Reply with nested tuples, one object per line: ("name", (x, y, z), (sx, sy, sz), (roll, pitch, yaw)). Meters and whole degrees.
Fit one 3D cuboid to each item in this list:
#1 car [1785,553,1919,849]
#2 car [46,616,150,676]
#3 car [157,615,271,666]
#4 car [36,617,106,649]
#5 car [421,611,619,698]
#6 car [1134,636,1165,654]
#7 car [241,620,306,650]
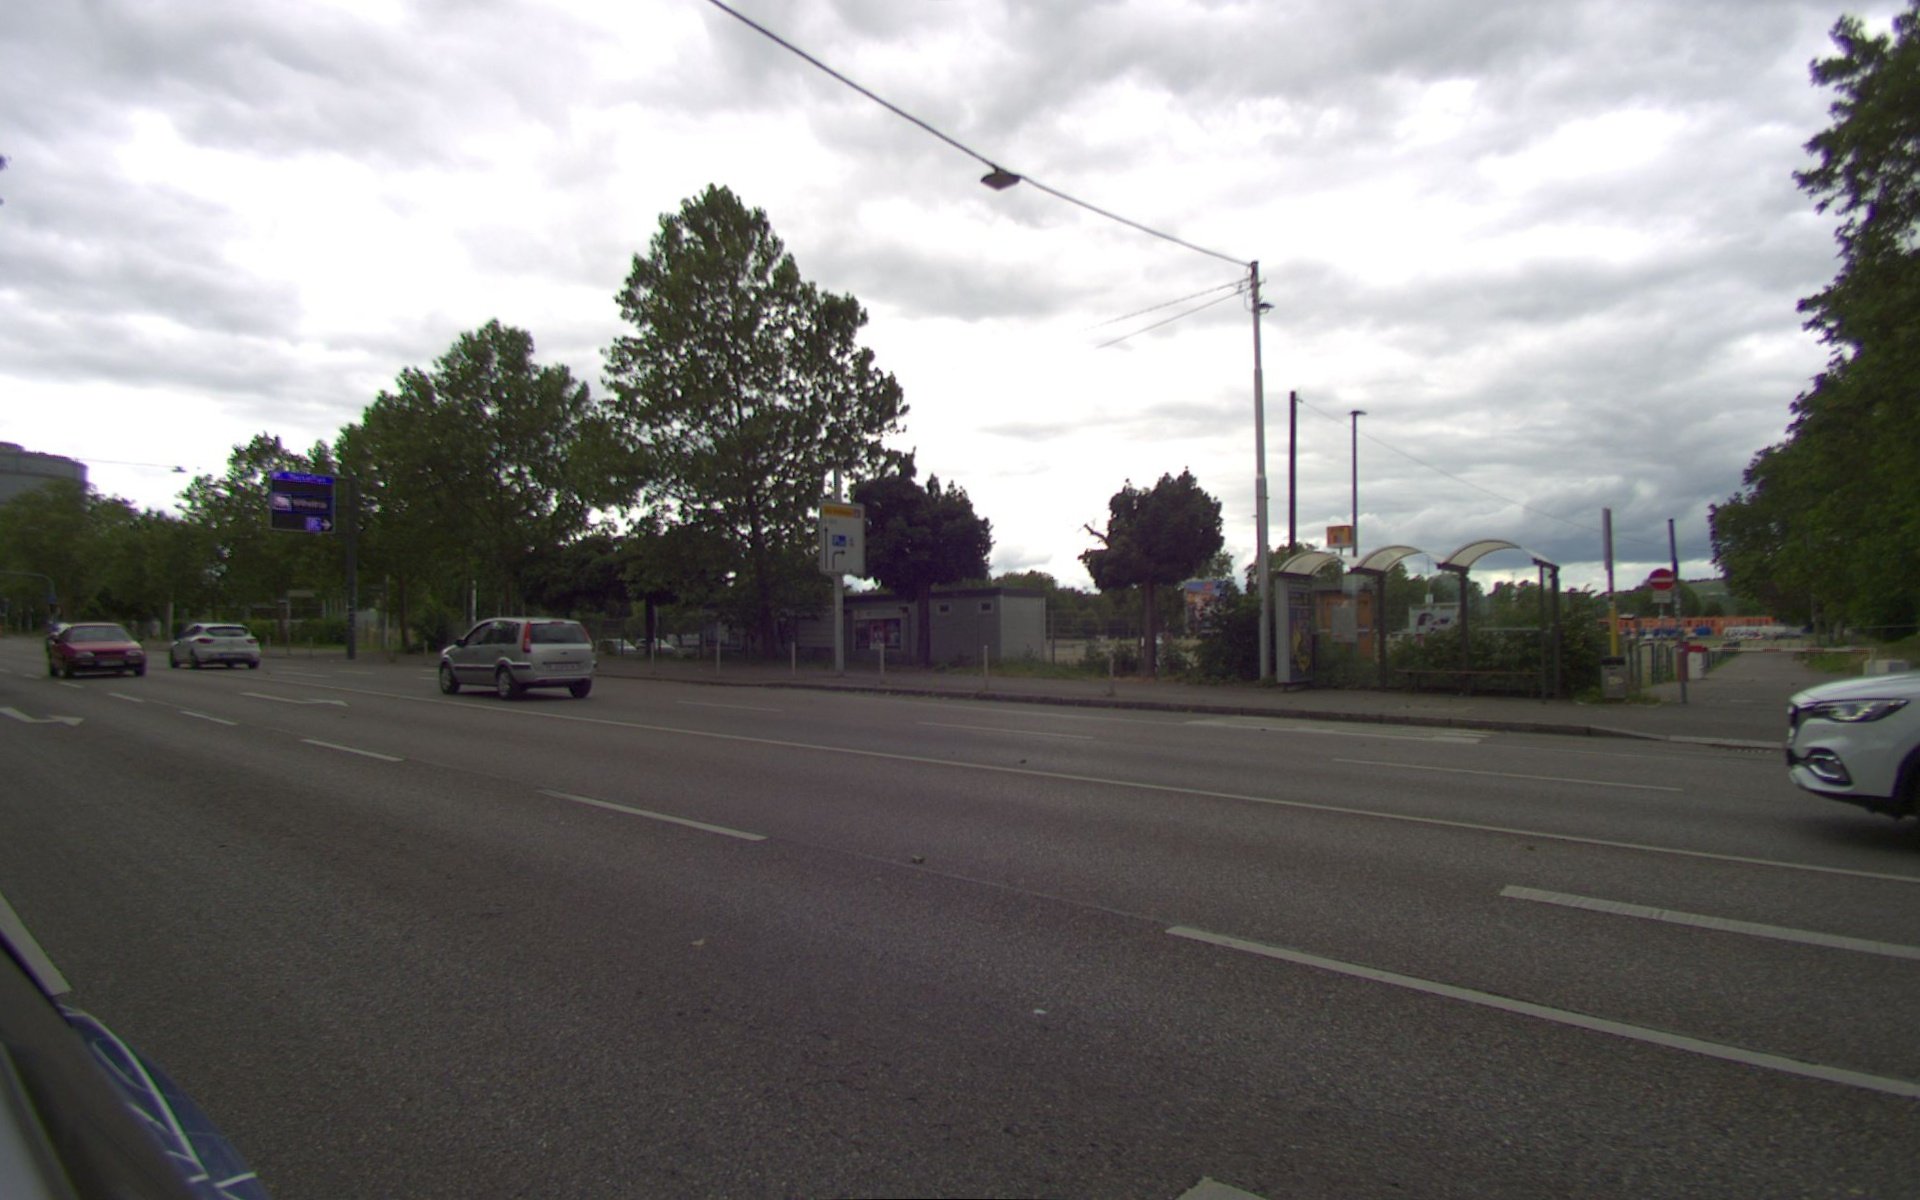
("car", (7.698, 0.587, 5.727), (4.588, 1.758, 1.975), (-1, -2, 38))
("car", (-23.254, 1.187, 27.246), (4.078, 1.463, 1.808), (-2, -1, 45))
("car", (-23.994, 1.276, 32.492), (4.381, 1.542, 1.973), (-1, -2, 40))
("car", (-45.646, 1.708, 51.938), (4.721, 1.542, 1.973), (-1, -3, 40))
("car", (-8.741, 1.019, 19.999), (3.996, 1.537, 1.973), (-1, -2, 40))
("car", (20.817, 4.934, 111.142), (1.994, 1.716, 3.943), (-1, 0, 33))
("car", (-47.987, 2.428, 70.761), (4.628, 2.029, 2.364), (-1, -3, 37))
